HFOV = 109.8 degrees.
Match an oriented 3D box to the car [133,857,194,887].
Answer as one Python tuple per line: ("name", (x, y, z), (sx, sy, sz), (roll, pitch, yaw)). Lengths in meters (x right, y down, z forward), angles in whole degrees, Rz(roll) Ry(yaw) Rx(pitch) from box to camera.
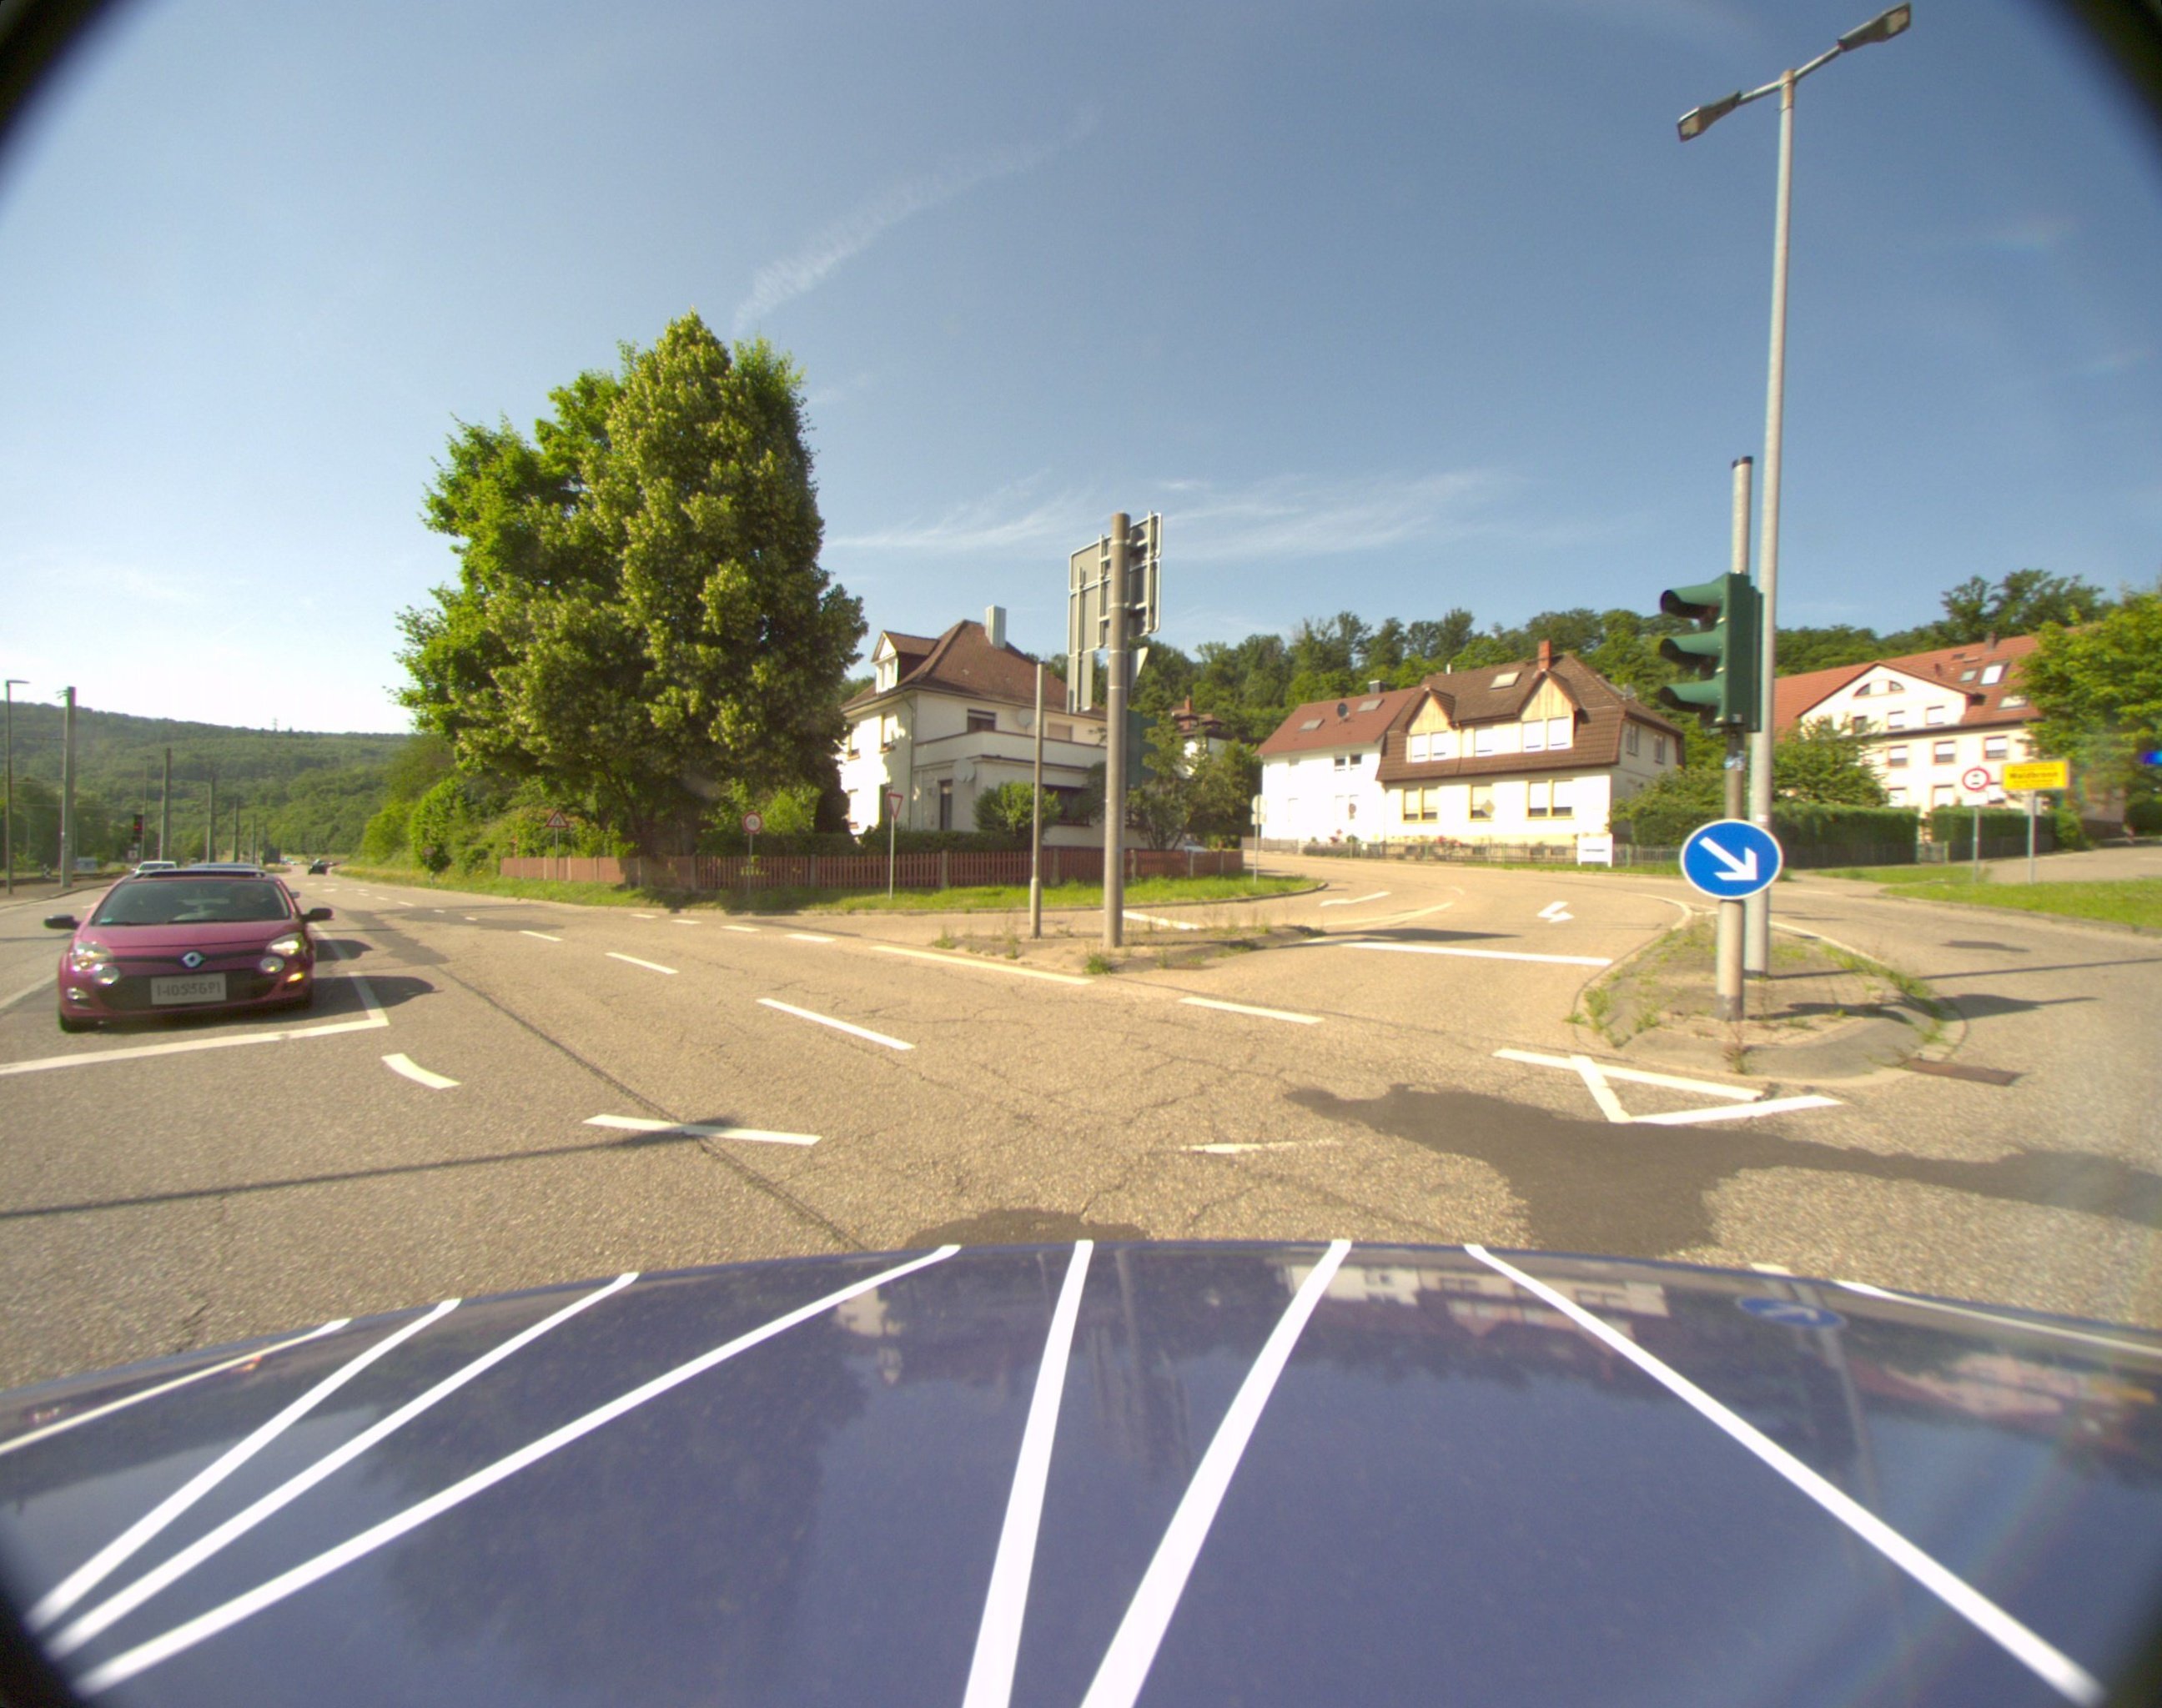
("car", (-52.518, 0.994, 43.555), (3.988, 1.576, 2.004), (-1, 2, 42))

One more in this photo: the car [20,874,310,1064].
("car", (-9.723, 1.013, 8.301), (3.944, 1.525, 1.665), (-1, 0, 43))

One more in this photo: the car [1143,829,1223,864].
("car", (5.111, -0.335, 38.597), (1.943, 1.628, 3.991), (-3, 1, -30))

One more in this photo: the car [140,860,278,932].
("car", (-21.023, 0.956, 18.386), (3.975, 1.495, 1.985), (-2, 0, 41))

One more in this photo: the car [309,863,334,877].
("car", (-105.184, 2.214, 105.185), (3.989, 1.674, 2.004), (-2, 1, 39))

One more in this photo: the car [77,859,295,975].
("car", (-14.535, 0.910, 12.490), (4.737, 1.495, 1.985), (-2, 0, 41))
